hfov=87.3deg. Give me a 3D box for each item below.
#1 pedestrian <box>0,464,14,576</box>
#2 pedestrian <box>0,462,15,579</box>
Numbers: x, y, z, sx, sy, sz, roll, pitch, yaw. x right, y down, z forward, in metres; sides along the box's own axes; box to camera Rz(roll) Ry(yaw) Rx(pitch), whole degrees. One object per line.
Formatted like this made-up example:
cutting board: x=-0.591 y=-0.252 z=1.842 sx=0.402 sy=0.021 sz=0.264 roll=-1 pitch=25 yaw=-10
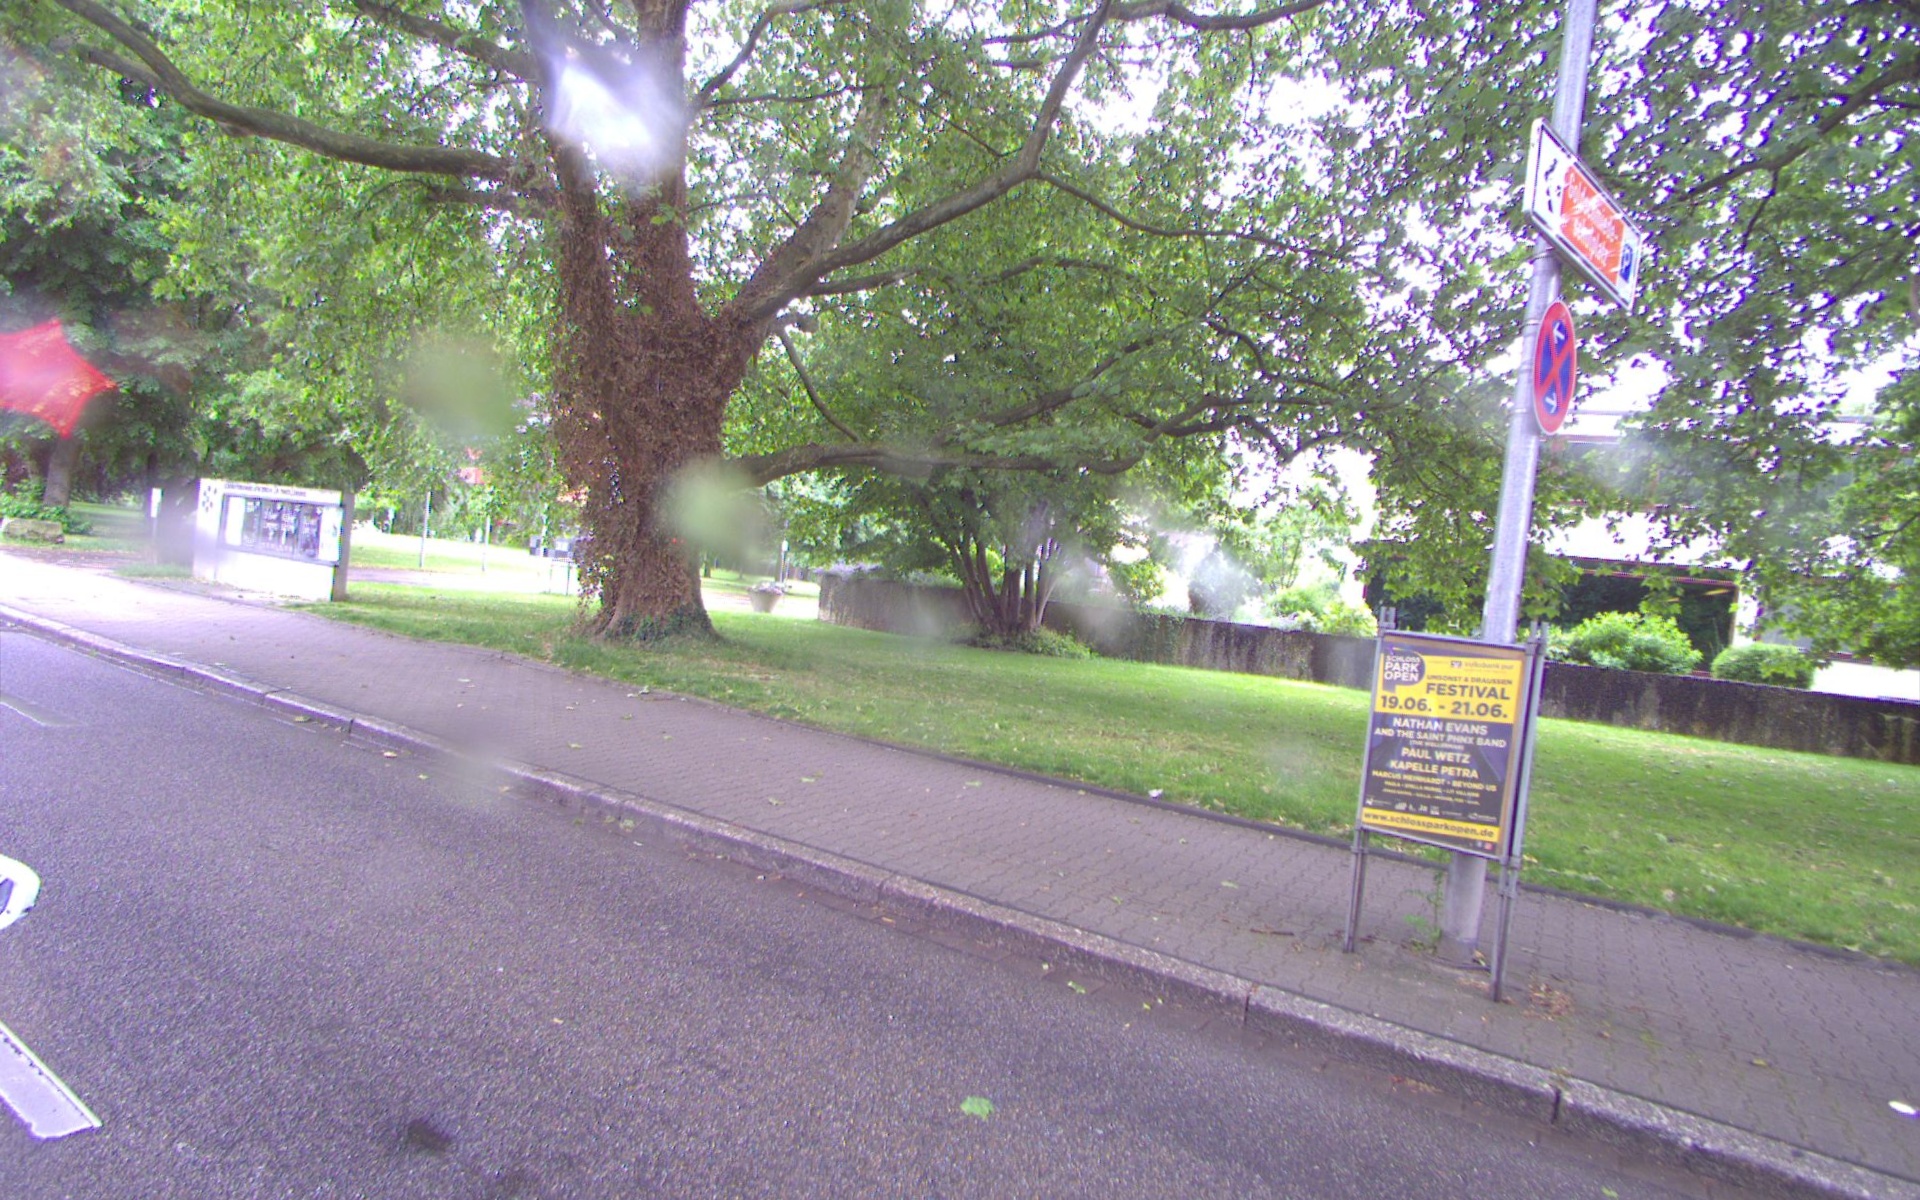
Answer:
pedestrian: x=-16.714 y=-1.389 z=16.845 sx=0.646 sy=1.902 sz=1.037 roll=7 pitch=3 yaw=21
pedestrian: x=-16.183 y=-1.339 z=16.300 sx=0.646 sy=1.902 sz=1.037 roll=7 pitch=3 yaw=21
